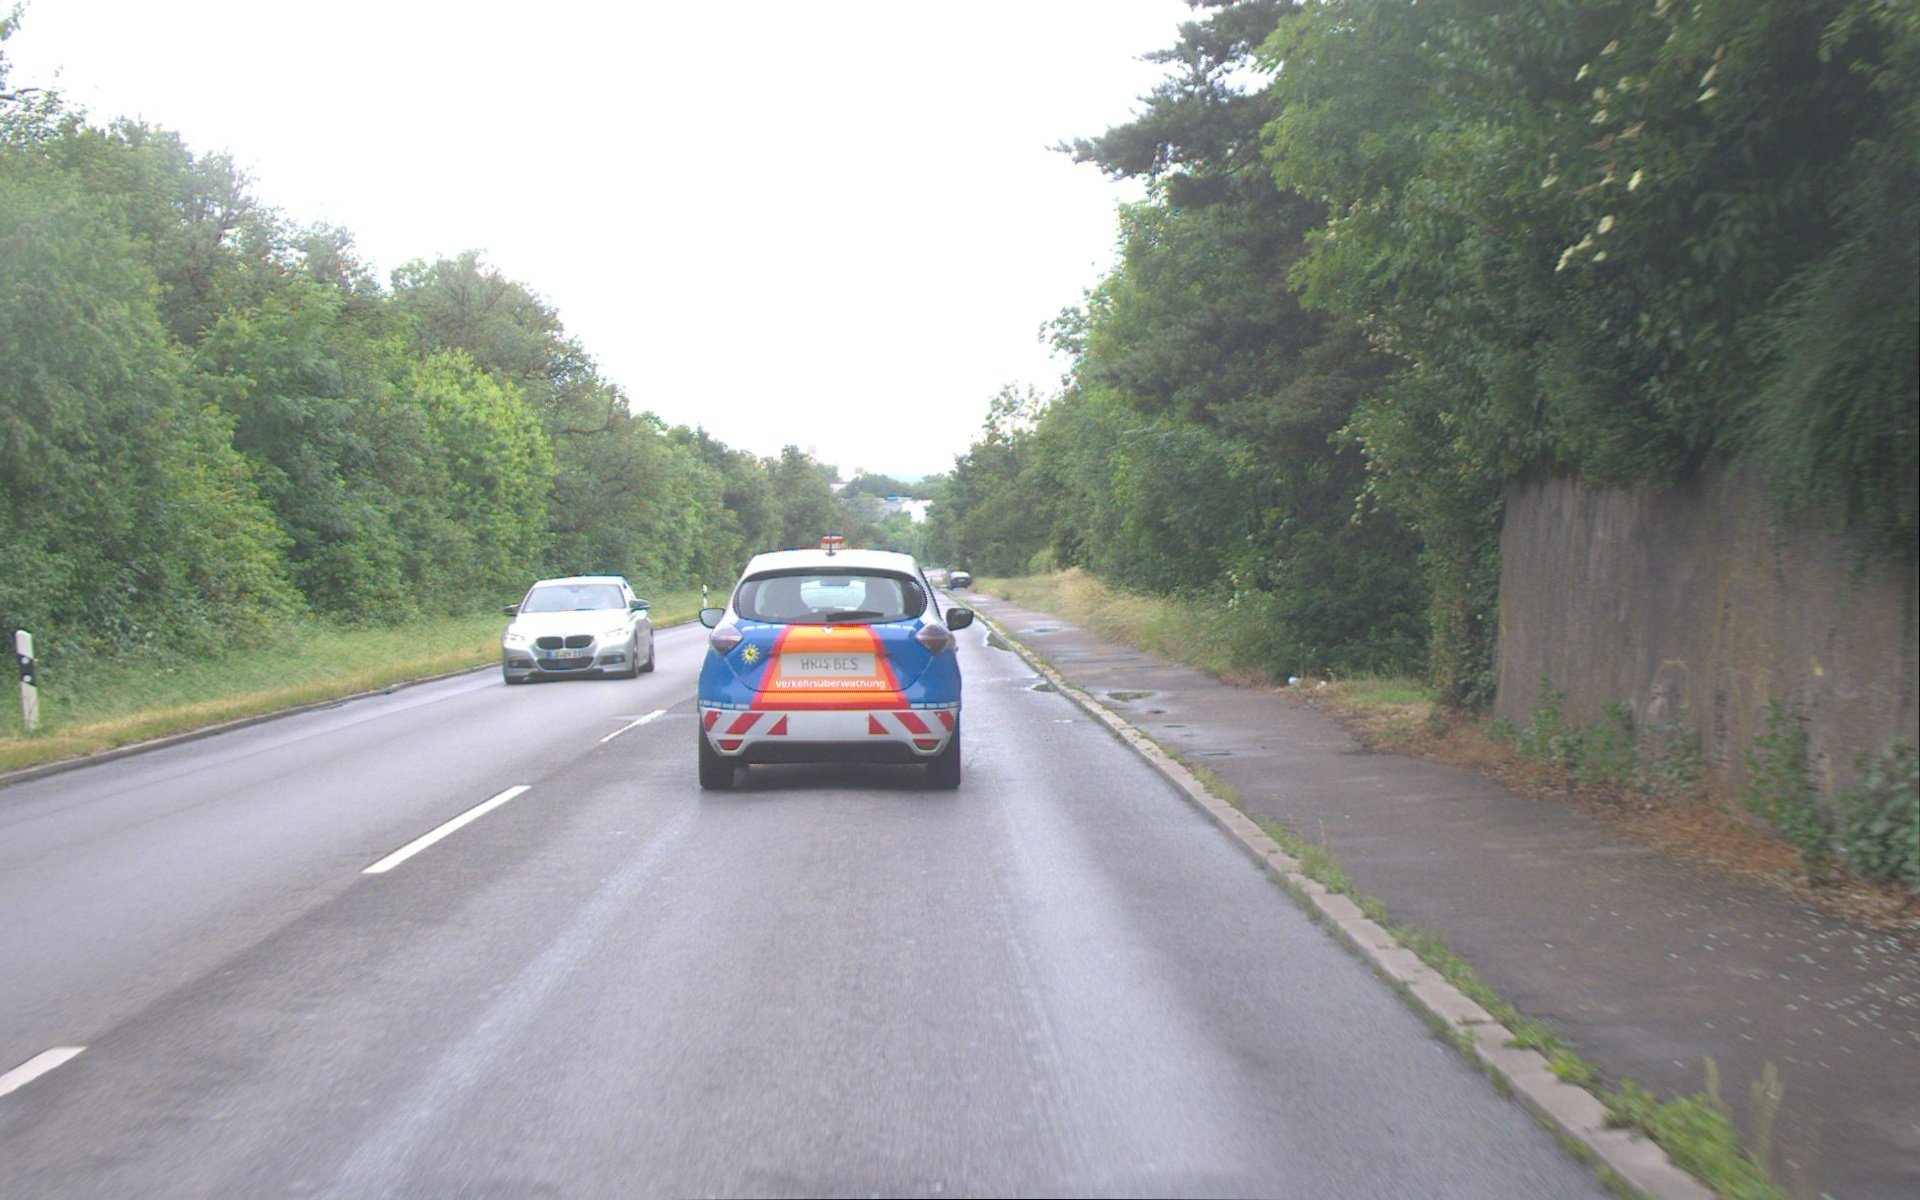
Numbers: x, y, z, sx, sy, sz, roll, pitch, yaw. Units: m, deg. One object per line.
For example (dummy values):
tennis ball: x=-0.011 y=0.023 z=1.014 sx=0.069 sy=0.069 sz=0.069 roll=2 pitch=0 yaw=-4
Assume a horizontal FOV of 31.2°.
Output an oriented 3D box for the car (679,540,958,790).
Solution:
car: x=-0.915 y=0.377 z=23.493 sx=1.752 sy=1.550 sz=3.793 roll=0 pitch=1 yaw=-1

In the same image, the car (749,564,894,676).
car: x=-1.665 y=0.226 z=42.287 sx=1.598 sy=1.282 sz=3.476 roll=-2 pitch=0 yaw=0

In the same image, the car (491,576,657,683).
car: x=-5.268 y=0.371 z=47.381 sx=1.891 sy=1.350 sz=4.382 roll=-1 pitch=1 yaw=-2
